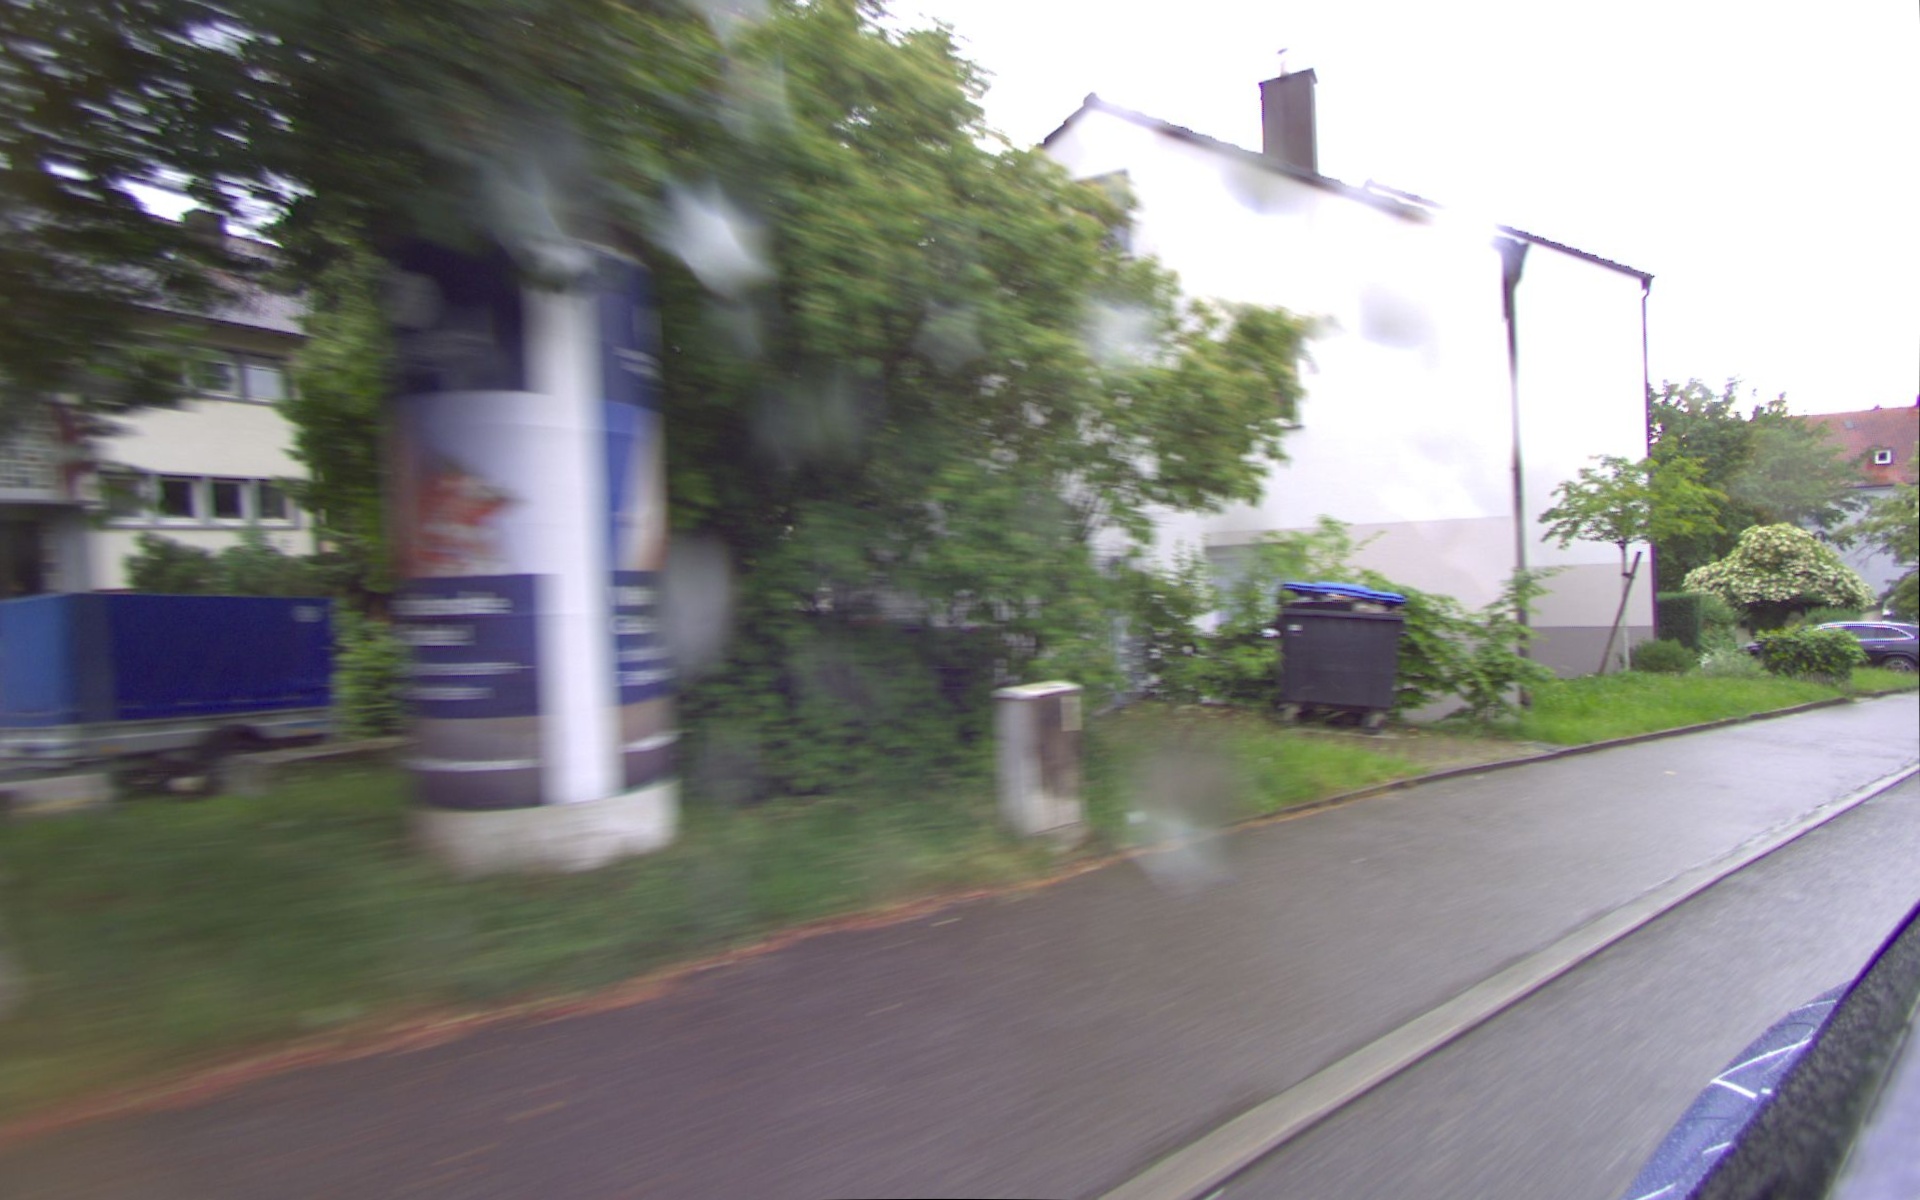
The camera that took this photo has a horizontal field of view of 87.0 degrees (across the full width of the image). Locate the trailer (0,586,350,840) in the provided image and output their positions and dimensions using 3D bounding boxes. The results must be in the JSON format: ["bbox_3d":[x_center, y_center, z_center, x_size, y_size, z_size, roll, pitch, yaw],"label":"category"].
[{"bbox_3d":[-7.348,0.847,8.667,1.746,1.846,3.254,-2,-1,24],"label":"trailer"}]

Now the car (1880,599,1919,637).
[{"bbox_3d":[50.037,0.937,53.447,1.787,1.612,4.200,3,5,38],"label":"car"}]

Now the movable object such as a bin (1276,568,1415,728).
[{"bbox_3d":[3.877,0.453,10.293,1.227,1.516,0.978,1,0,17],"label":"movable object such as a bin"}]

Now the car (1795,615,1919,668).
[{"bbox_3d":[28.396,1.270,31.275,1.693,1.477,3.751,2,0,-40],"label":"car"}]

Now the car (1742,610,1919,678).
[{"bbox_3d":[24.522,1.190,27.876,1.825,1.681,4.528,2,-1,-45],"label":"car"}]
